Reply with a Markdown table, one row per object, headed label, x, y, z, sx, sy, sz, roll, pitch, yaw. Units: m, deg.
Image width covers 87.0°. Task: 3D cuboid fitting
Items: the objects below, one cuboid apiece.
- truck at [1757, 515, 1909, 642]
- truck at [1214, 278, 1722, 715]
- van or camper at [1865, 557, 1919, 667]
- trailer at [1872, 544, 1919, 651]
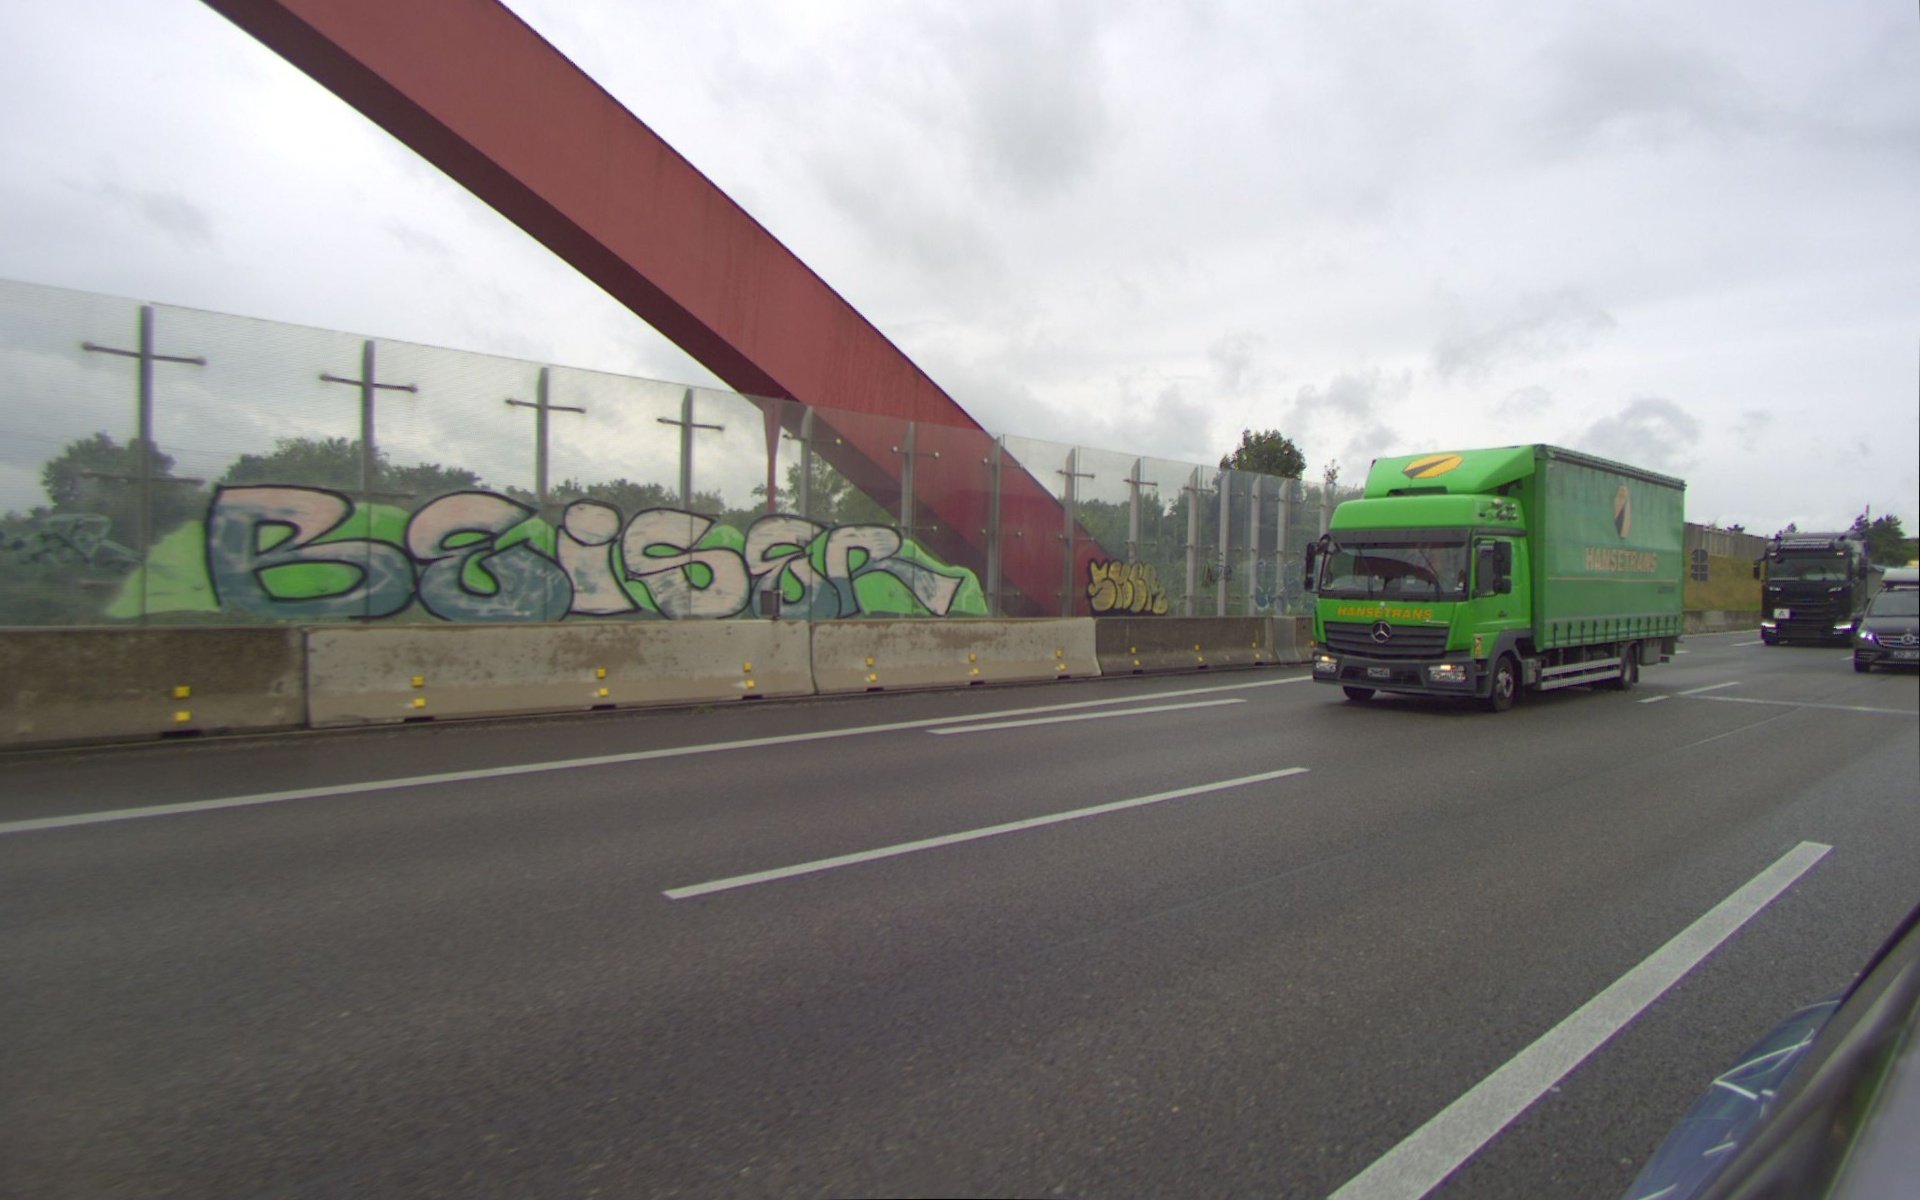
| label | x | y | z | sx | sy | sz | roll | pitch | yaw |
| --- | --- | --- | --- | --- | --- | --- | --- | --- | --- |
| truck | 32.313 | -0.765 | 37.187 | 12.499 | 3.999 | 2.816 | 0 | 2 | -43 |
| truck | 9.321 | -1.313 | 17.525 | 11.023 | 5.332 | 4.004 | 0 | 0 | -41 |
| van or camper | 22.087 | 0.247 | 22.838 | 5.582 | 2.298 | 1.893 | 0 | -1 | -42 |
| trailer | 26.932 | -0.035 | 27.234 | 7.381 | 2.675 | 2.726 | 0 | 1 | -42 |
